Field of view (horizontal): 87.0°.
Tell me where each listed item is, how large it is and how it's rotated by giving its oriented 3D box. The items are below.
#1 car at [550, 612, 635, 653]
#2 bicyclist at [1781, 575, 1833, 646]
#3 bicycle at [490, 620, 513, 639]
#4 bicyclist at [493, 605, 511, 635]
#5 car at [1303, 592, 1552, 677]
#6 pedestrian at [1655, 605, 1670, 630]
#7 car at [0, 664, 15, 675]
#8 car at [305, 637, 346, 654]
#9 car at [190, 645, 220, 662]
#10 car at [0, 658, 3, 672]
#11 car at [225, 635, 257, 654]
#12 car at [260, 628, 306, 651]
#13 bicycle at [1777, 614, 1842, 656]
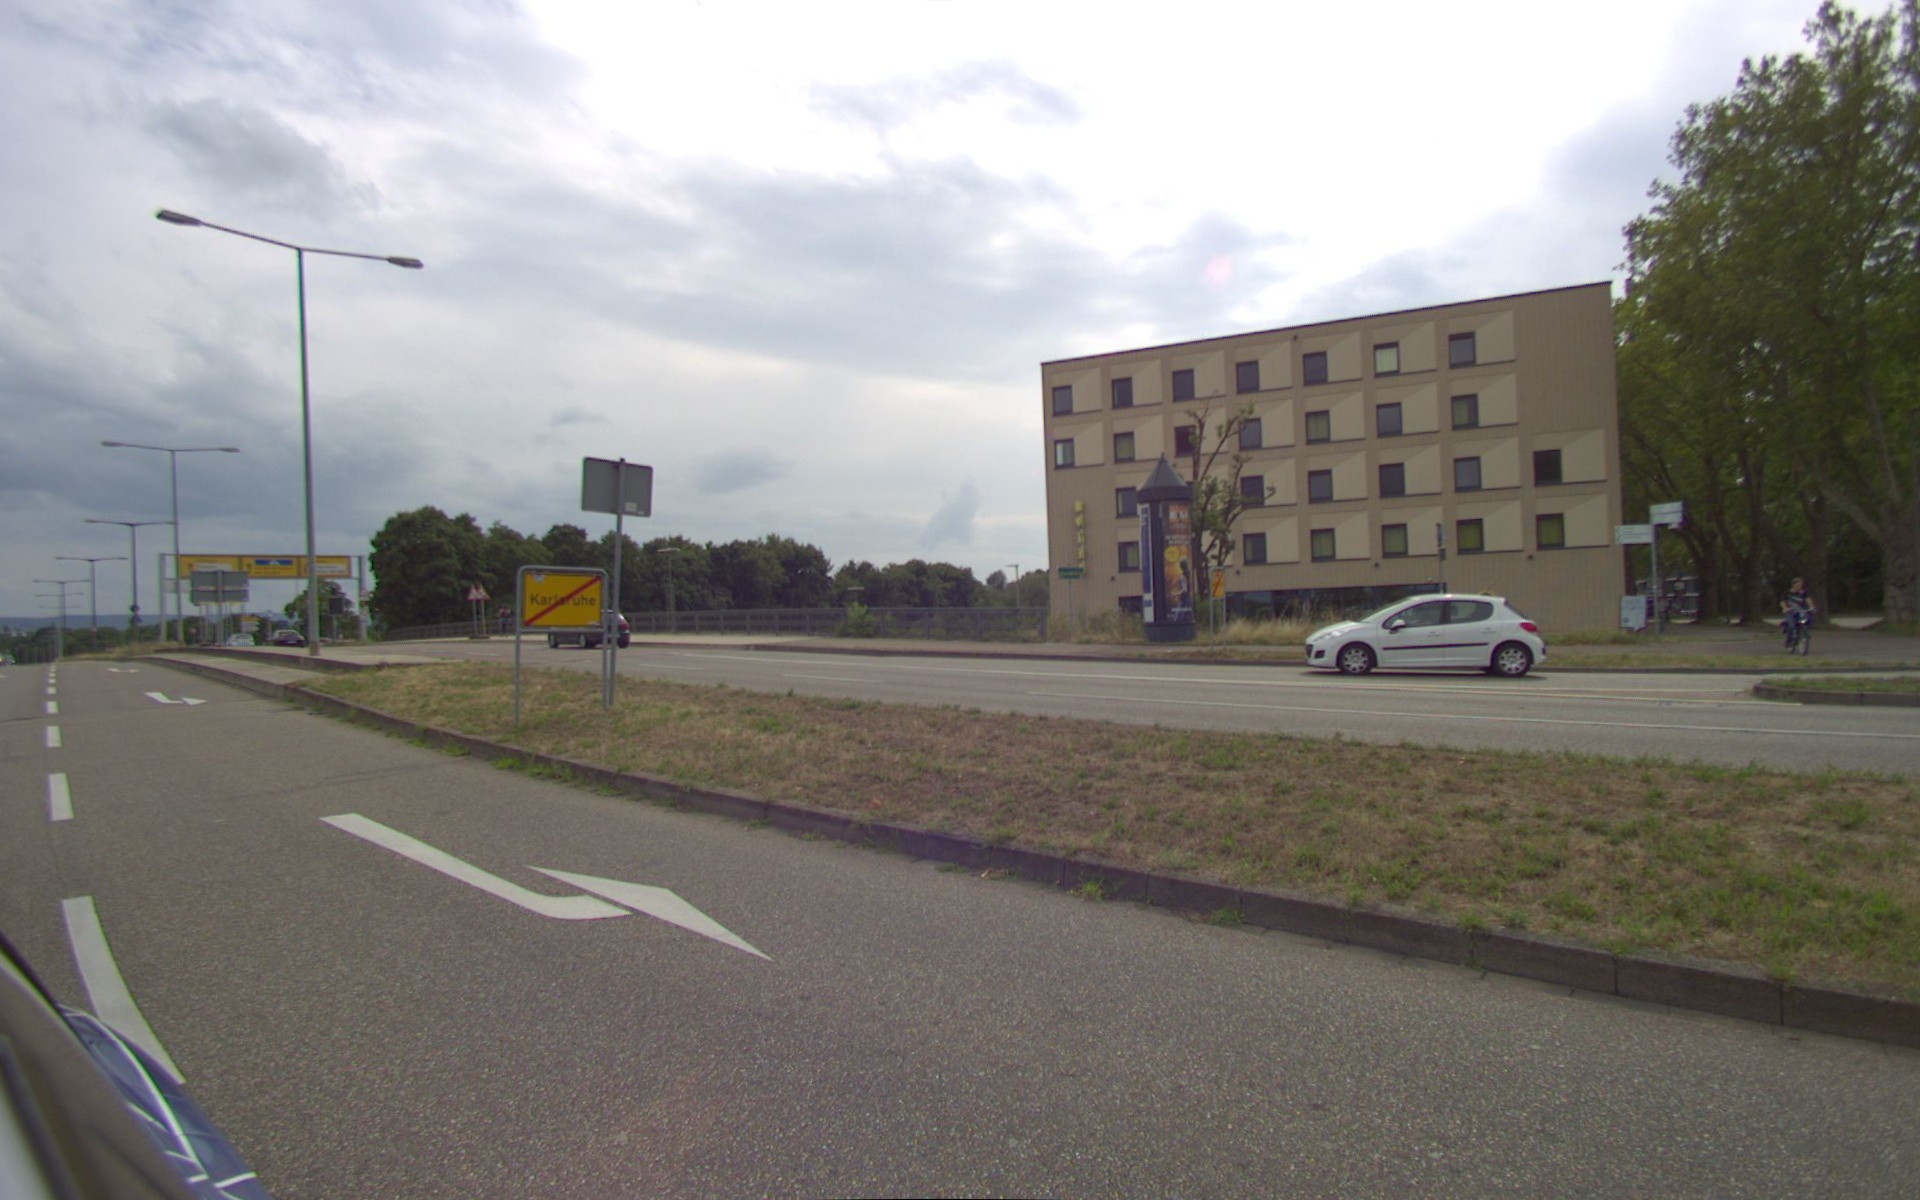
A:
[{"bbox_3d":[-13.969,1.198,38.336,1.770,1.429,4.007,-1,-1,-39],"label":"car"},{"bbox_3d":[20.105,0.252,24.040,0.738,1.627,0.912,-2,-1,28],"label":"bicyclist"},{"bbox_3d":[-26.277,1.676,57.998,0.675,1.061,1.998,-1,0,-40],"label":"bicycle"},{"bbox_3d":[-26.251,1.168,57.975,0.675,1.684,0.849,-1,-1,-40],"label":"bicyclist"},{"bbox_3d":[8.394,0.613,18.521,3.839,1.456,1.723,-1,0,15],"label":"car"},{"bbox_3d":[31.593,0.789,45.492,0.500,1.133,0.458,-2,-1,32],"label":"pedestrian"},{"bbox_3d":[-130.767,9.563,138.687,1.834,1.353,4.004,-1,-1,-43],"label":"car"},{"bbox_3d":[-64.009,4.588,102.161,1.721,1.671,4.083,0,-1,-4],"label":"car"},{"bbox_3d":[-69.935,4.963,93.718,1.721,1.421,3.879,1,-2,-44],"label":"car"},{"bbox_3d":[-97.430,6.534,101.643,1.834,1.353,4.004,-1,-1,-42],"label":"car"},{"bbox_3d":[-58.454,3.598,82.295,1.597,1.421,3.864,1,-2,-43],"label":"car"},{"bbox_3d":[-46.594,2.674,69.636,1.800,1.457,4.355,-1,0,-45],"label":"car"},{"bbox_3d":[20.089,0.805,23.974,0.738,0.916,2.099,-2,-1,28],"label":"bicycle"}]
